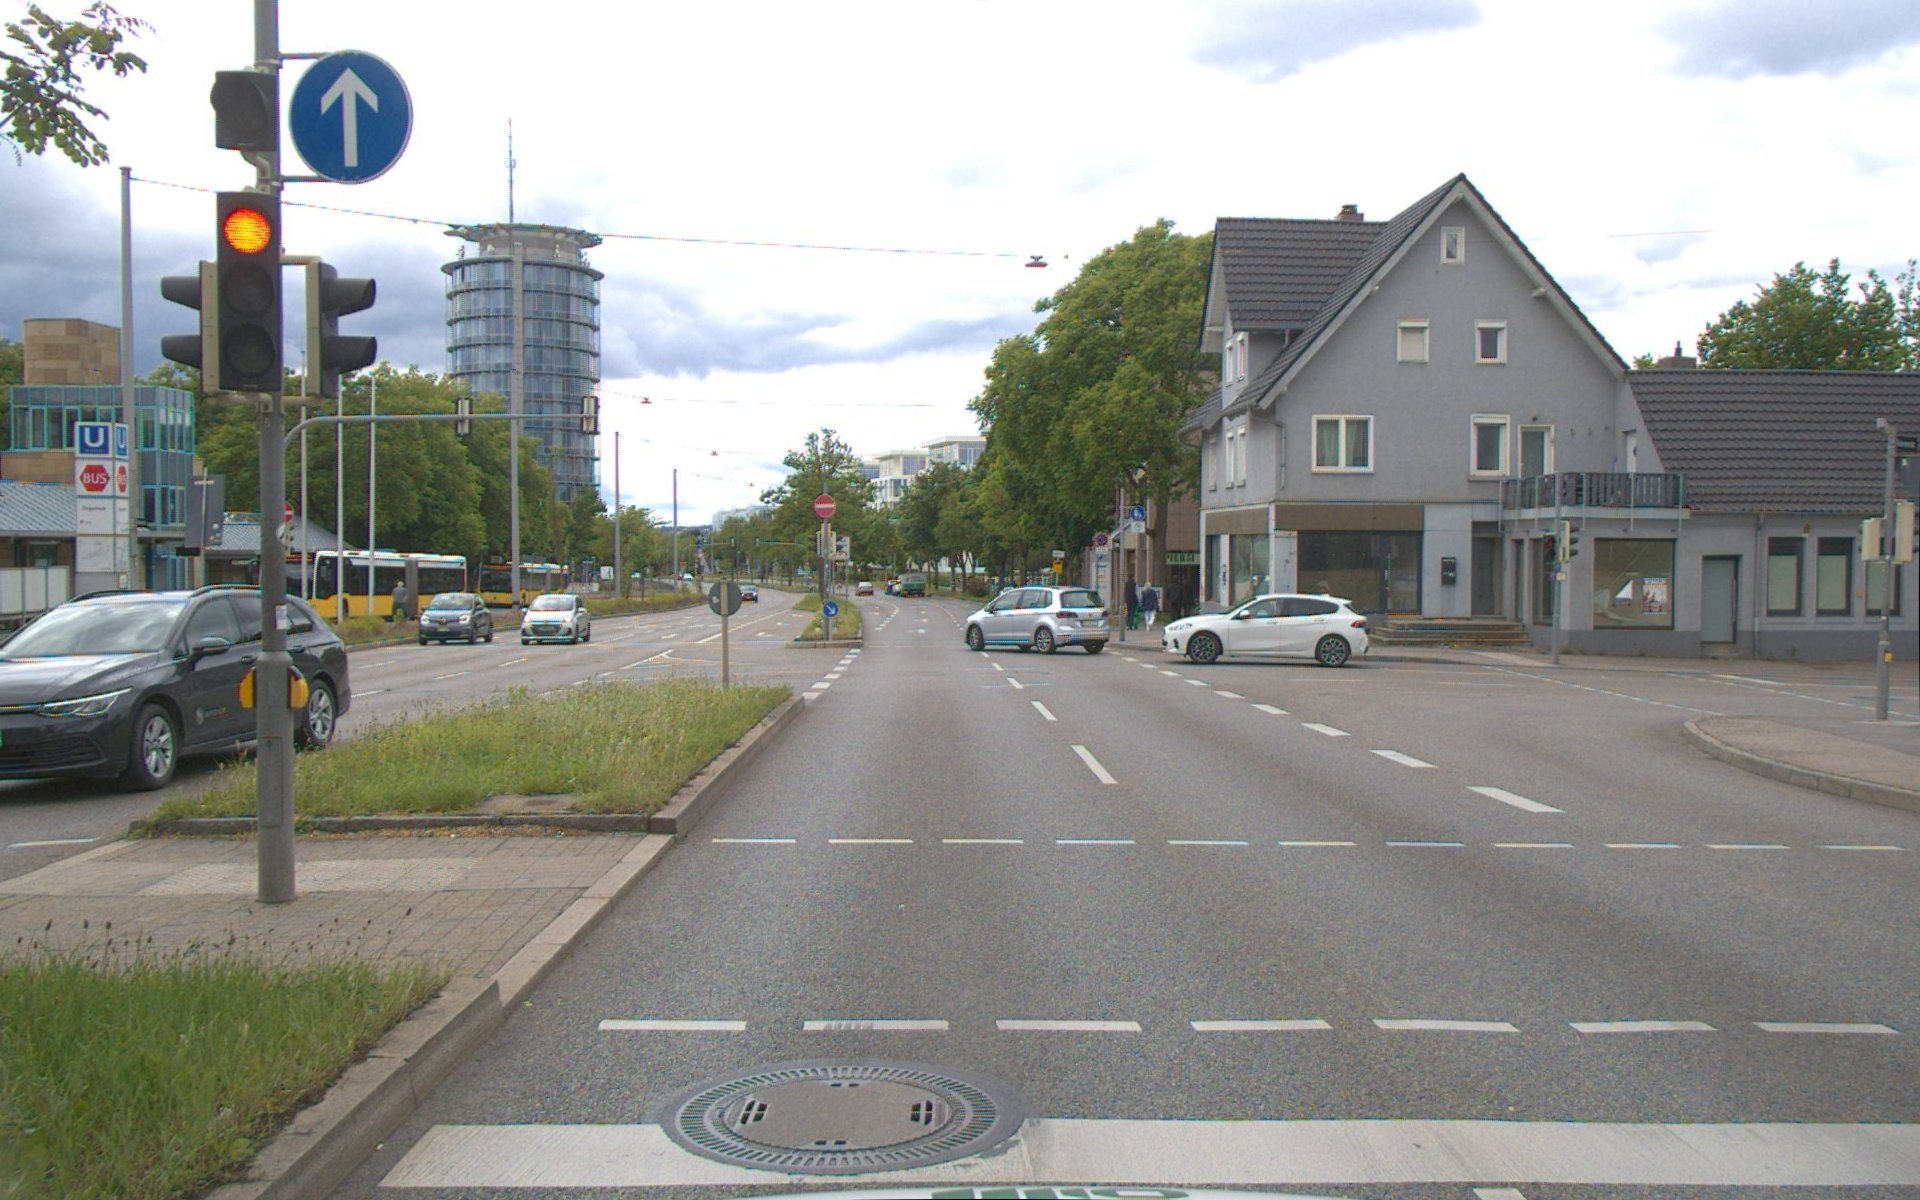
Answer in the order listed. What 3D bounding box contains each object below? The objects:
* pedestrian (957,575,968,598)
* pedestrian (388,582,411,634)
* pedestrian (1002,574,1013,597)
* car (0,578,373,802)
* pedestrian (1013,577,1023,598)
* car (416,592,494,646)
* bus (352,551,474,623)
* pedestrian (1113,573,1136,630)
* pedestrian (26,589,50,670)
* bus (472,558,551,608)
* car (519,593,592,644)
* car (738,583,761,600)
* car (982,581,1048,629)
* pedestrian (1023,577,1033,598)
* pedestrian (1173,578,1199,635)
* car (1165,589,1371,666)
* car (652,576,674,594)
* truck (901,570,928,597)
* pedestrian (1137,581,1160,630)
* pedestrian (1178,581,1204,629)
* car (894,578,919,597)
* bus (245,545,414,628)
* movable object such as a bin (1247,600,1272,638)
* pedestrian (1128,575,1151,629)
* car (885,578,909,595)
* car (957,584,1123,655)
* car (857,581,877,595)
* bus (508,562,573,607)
[{"bbox_3d":[0.252,-1.434,175.908,0.914,2.349,1.008,1,-1,-10],"label":"pedestrian"},{"bbox_3d":[-20.823,0.294,61.446,0.647,1.930,0.685,0,0,-1],"label":"pedestrian"},{"bbox_3d":[4.214,-1.293,147.324,0.951,2.049,0.981,1,-1,-2],"label":"pedestrian"},{"bbox_3d":[-6.534,0.615,13.493,1.673,1.507,4.290,-2,0,4],"label":"car"},{"bbox_3d":[4.465,-0.990,127.661,0.638,1.597,0.669,0,0,-9],"label":"pedestrian"},{"bbox_3d":[-15.474,0.564,50.819,1.652,1.606,3.344,0,0,-6],"label":"car"},{"bbox_3d":[-26.543,-0.613,80.724,2.927,3.327,7.879,-1,0,3],"label":"bus"},{"bbox_3d":[5.271,0.042,53.038,0.690,1.811,0.871,-1,0,5],"label":"pedestrian"},{"bbox_3d":[-18.504,0.582,33.183,0.414,1.619,0.353,0,0,-30],"label":"pedestrian"},{"bbox_3d":[-30.779,-1.118,114.019,3.082,3.281,10.279,0,0,-3],"label":"bus"},{"bbox_3d":[-12.365,0.549,50.731,1.651,1.488,3.552,0,0,-5],"label":"car"},{"bbox_3d":[-18.703,-0.744,147.215,1.668,1.518,3.560,-1,0,-2],"label":"car"},{"bbox_3d":[1.817,0.172,56.053,1.852,1.521,4.095,-1,0,-4],"label":"car"},{"bbox_3d":[5.267,-0.974,127.602,0.638,1.597,0.669,0,0,-9],"label":"pedestrian"},{"bbox_3d":[7.159,0.191,52.360,0.690,1.791,1.052,0,0,2],"label":"pedestrian"},{"bbox_3d":[6.439,0.556,34.998,4.152,1.503,2.002,1,0,7],"label":"car"},{"bbox_3d":[-35.893,-1.830,199.750,1.925,2.049,3.999,1,0,-1],"label":"car"},{"bbox_3d":[-4.338,-1.537,156.430,2.207,2.459,4.927,0,0,-5],"label":"truck"},{"bbox_3d":[6.005,0.176,52.669,0.690,1.533,0.871,-1,0,7],"label":"pedestrian"},{"bbox_3d":[8.279,0.173,59.381,0.691,1.691,0.870,-1,0,24],"label":"pedestrian"},{"bbox_3d":[-5.391,-1.245,165.007,2.207,1.787,4.927,0,0,-5],"label":"car"},{"bbox_3d":[-27.081,-0.561,71.700,2.927,3.307,10.174,-1,0,3],"label":"bus"},{"bbox_3d":[7.996,0.494,44.165,0.518,0.997,0.736,0,0,-1],"label":"movable object such as a bin"},{"bbox_3d":[6.134,0.067,56.472,0.690,1.811,0.871,-1,0,13],"label":"pedestrian"},{"bbox_3d":[-6.591,-1.392,173.785,2.207,1.676,4.927,0,0,-6],"label":"car"},{"bbox_3d":[1.892,0.444,40.099,1.810,1.567,4.059,1,0,-38],"label":"car"},{"bbox_3d":[-9.709,-1.262,173.028,1.929,1.444,4.017,0,0,-6],"label":"car"},{"bbox_3d":[-31.140,-1.133,123.017,3.081,3.281,7.762,0,0,-2],"label":"bus"}]
